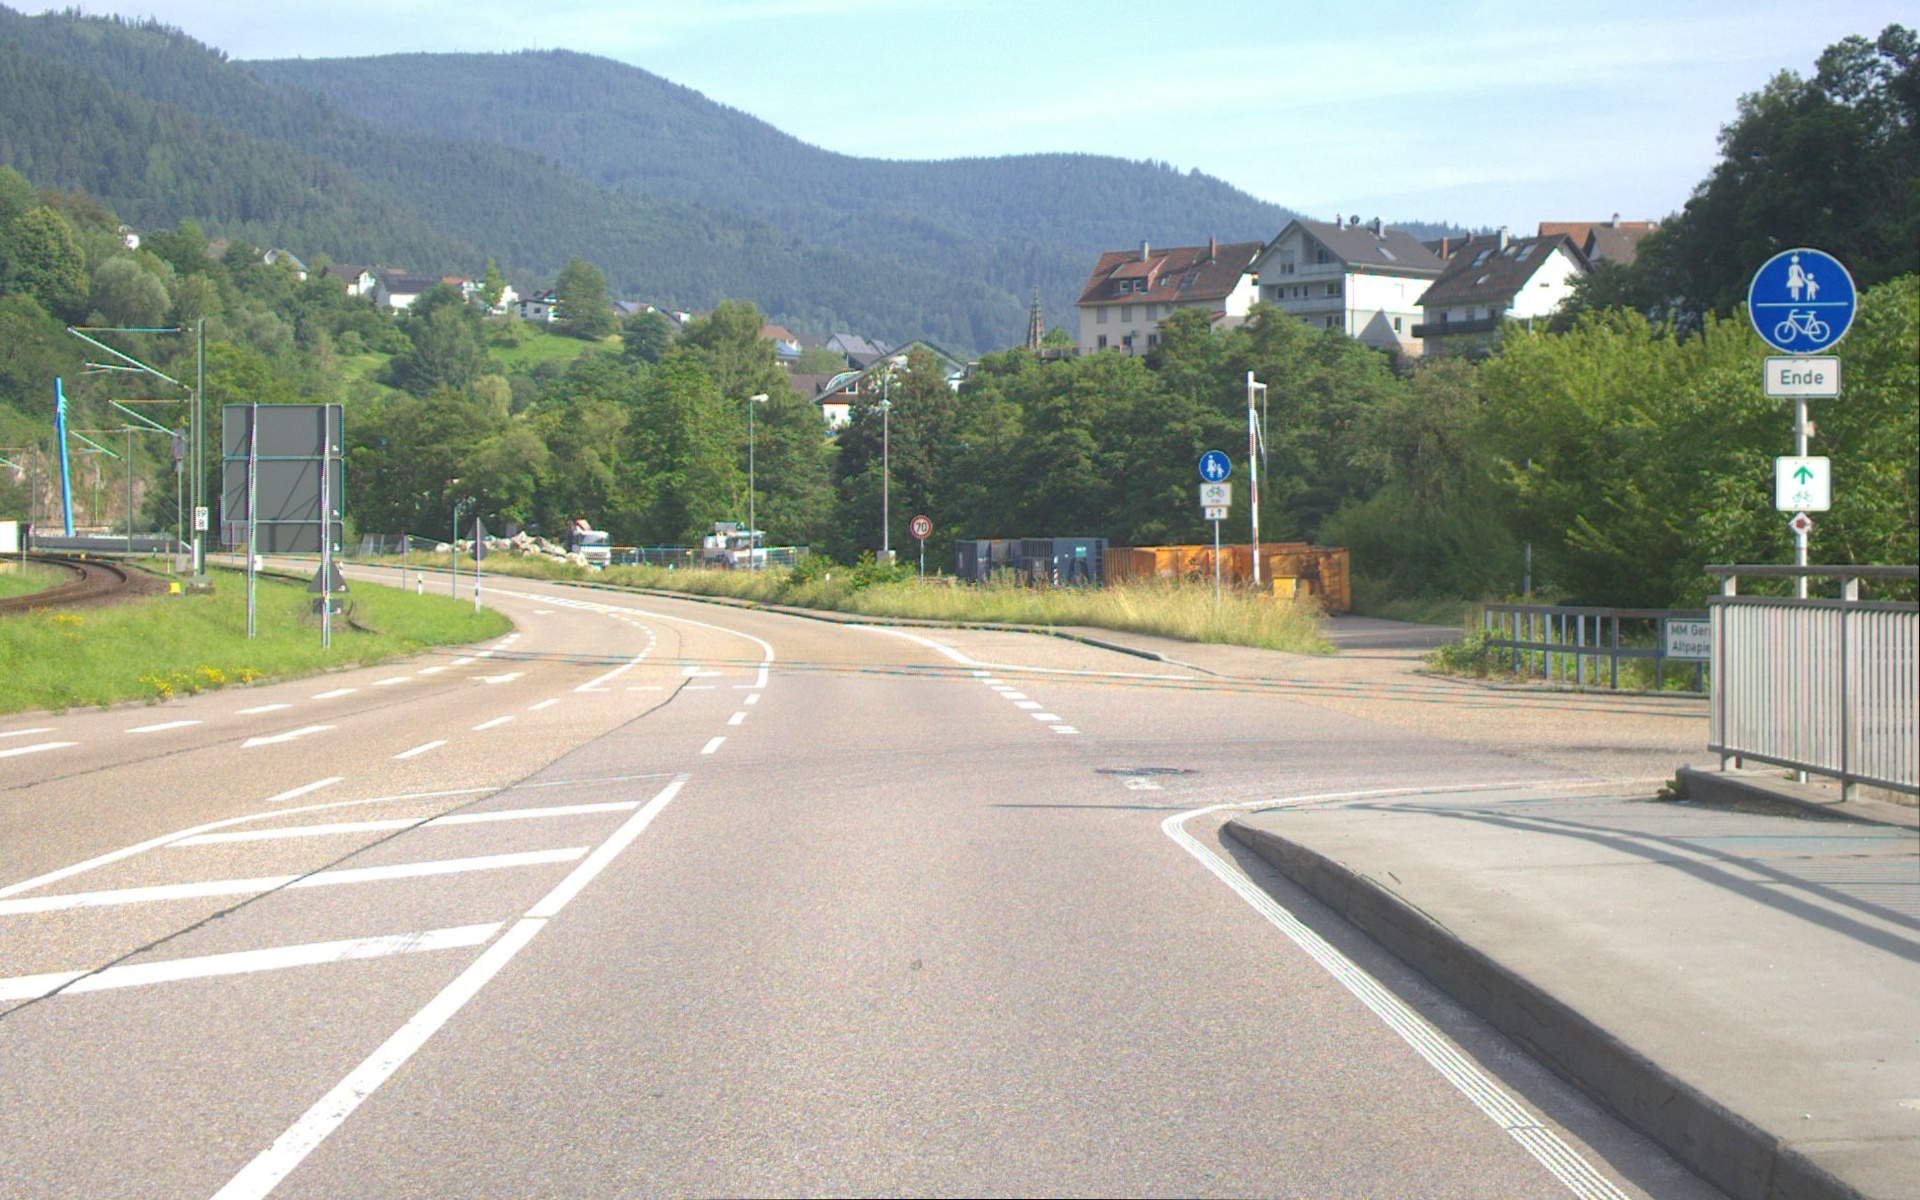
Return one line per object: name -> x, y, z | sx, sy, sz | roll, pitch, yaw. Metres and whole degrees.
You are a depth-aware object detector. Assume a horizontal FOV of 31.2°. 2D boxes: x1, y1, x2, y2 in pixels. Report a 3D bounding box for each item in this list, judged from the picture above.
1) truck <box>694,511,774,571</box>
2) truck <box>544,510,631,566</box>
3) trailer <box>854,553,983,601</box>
truck -> -14.514, -3.816, 220.327 | 3.102, 3.769, 8.647 | 1, 1, -18
truck -> -25.626, -4.274, 236.072 | 3.102, 3.769, 8.646 | 0, 1, -26
trailer -> -1.577, -0.870, 123.568 | 2.791, 1.469, 9.890 | 2, 1, -12
